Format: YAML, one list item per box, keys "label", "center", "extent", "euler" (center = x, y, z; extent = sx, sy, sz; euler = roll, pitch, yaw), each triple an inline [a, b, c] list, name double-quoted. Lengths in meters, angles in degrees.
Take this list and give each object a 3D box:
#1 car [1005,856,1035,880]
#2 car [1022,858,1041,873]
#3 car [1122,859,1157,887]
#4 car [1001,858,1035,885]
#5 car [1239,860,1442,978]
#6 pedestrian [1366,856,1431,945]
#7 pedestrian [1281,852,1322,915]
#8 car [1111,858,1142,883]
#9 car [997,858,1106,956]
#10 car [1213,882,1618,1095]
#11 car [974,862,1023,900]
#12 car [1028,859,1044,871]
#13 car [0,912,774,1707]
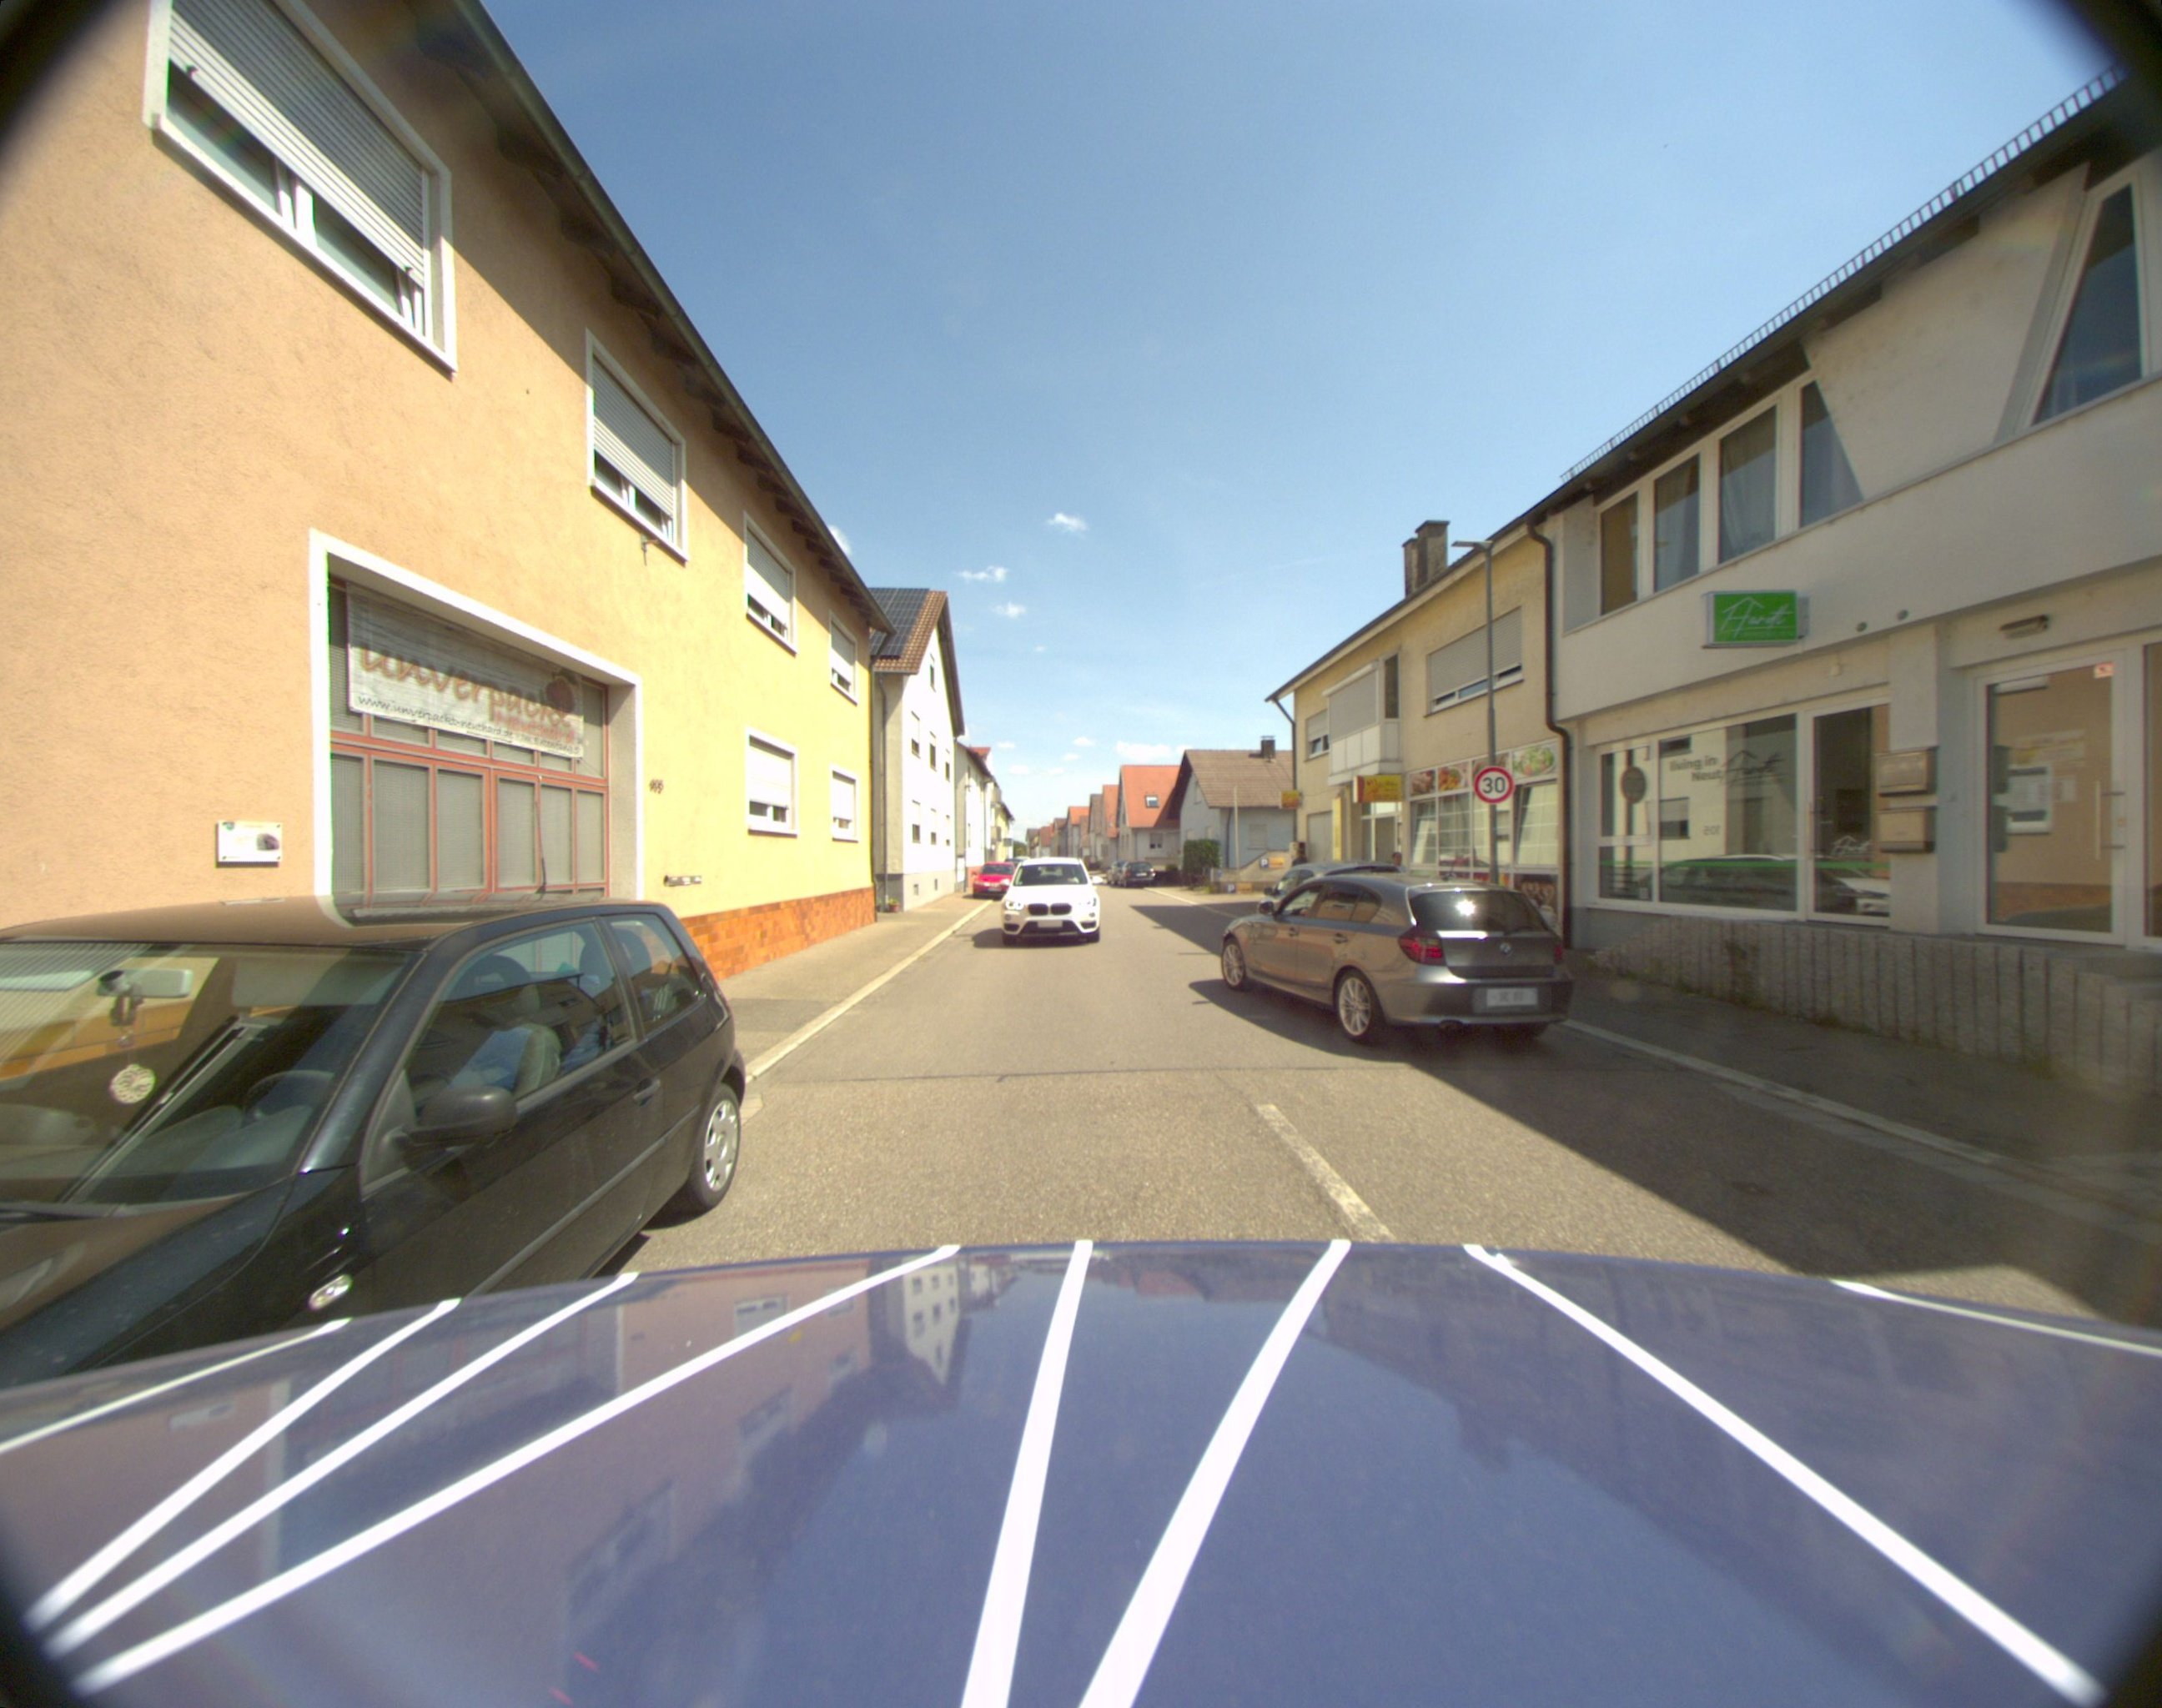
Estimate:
- label: "car"
  center: [-3.790, 0.859, 48.056]
  extent: [1.765, 1.420, 4.188]
  euler: [0, 0, -3]
- label: "car"
  center: [-4.634, 1.073, 71.483]
  extent: [1.765, 1.420, 4.188]
  euler: [0, 0, -3]
- label: "car"
  center: [3.140, 1.013, 41.296]
  extent: [1.458, 1.362, 3.383]
  euler: [-3, 0, -1]
- label: "car"
  center: [-3.399, 0.916, 41.623]
  extent: [1.765, 1.420, 4.188]
  euler: [0, 0, -3]
- label: "car"
  center: [4.151, 0.948, 12.906]
  extent: [1.749, 1.507, 3.998]
  euler: [-4, 1, -4]
- label: "pedestrian"
  center: [5.922, 0.844, 14.211]
  extent: [0.757, 1.574, 0.956]
  euler: [-2, 1, -1]
- label: "pedestrian"
  center: [5.760, 0.760, 19.889]
  extent: [0.757, 1.574, 0.956]
  euler: [-2, 1, -1]
- label: "car"
  center: [2.698, 0.979, 45.669]
  extent: [1.442, 1.362, 3.383]
  euler: [-3, 0, -3]
- label: "car"
  center: [-0.598, 0.938, 15.465]
  extent: [1.845, 1.635, 4.373]
  euler: [-2, 0, -2]
- label: "car"
  center: [2.841, 1.051, 7.502]
  extent: [1.766, 1.389, 3.866]
  euler: [1, 0, -11]
- label: "car"
  center: [-3.281, 1.046, 30.845]
  extent: [1.765, 1.420, 4.188]
  euler: [0, 0, -3]
- label: "car"
  center: [-5.354, 1.334, 90.474]
  extent: [1.765, 1.420, 4.187]
  euler: [0, 0, -6]
- label: "car"
  center: [-2.304, 1.018, 1.936]
  extent: [1.690, 1.454, 3.628]
  euler: [2, 0, -3]
